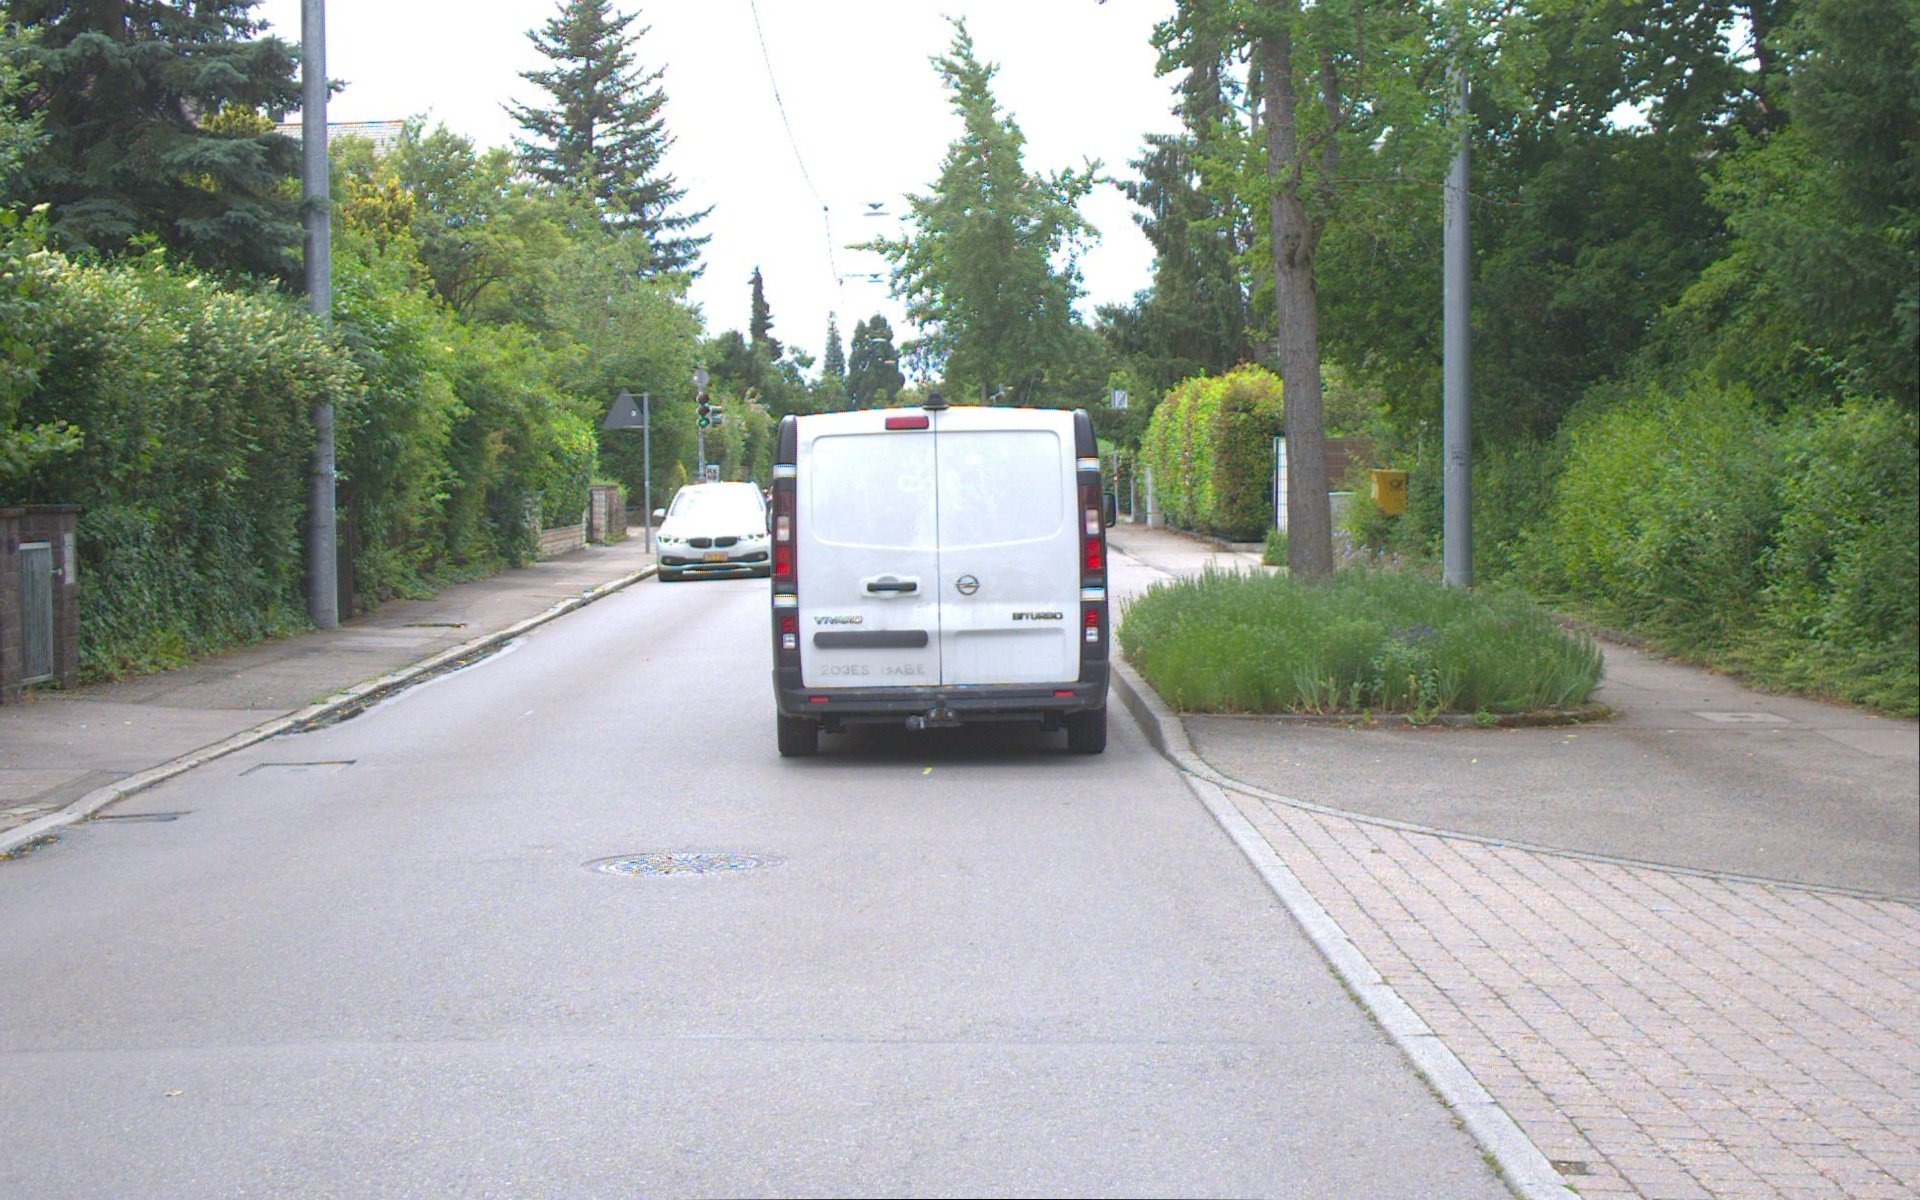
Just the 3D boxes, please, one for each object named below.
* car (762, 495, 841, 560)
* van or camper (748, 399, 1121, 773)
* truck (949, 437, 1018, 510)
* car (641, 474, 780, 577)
[{"bbox_3d":[-3.832,-1.787,83.600,1.805,1.426,4.119,-3,2,-2],"label":"car"},{"bbox_3d":[-0.198,-0.109,20.554,1.939,1.947,4.766,1,1,-2],"label":"van or camper"},{"bbox_3d":[0.800,-4.447,120.818,2.187,2.463,7.431,1,2,-1],"label":"truck"},{"bbox_3d":[-3.793,-1.173,52.898,1.805,1.426,4.301,-3,2,-1],"label":"car"}]
